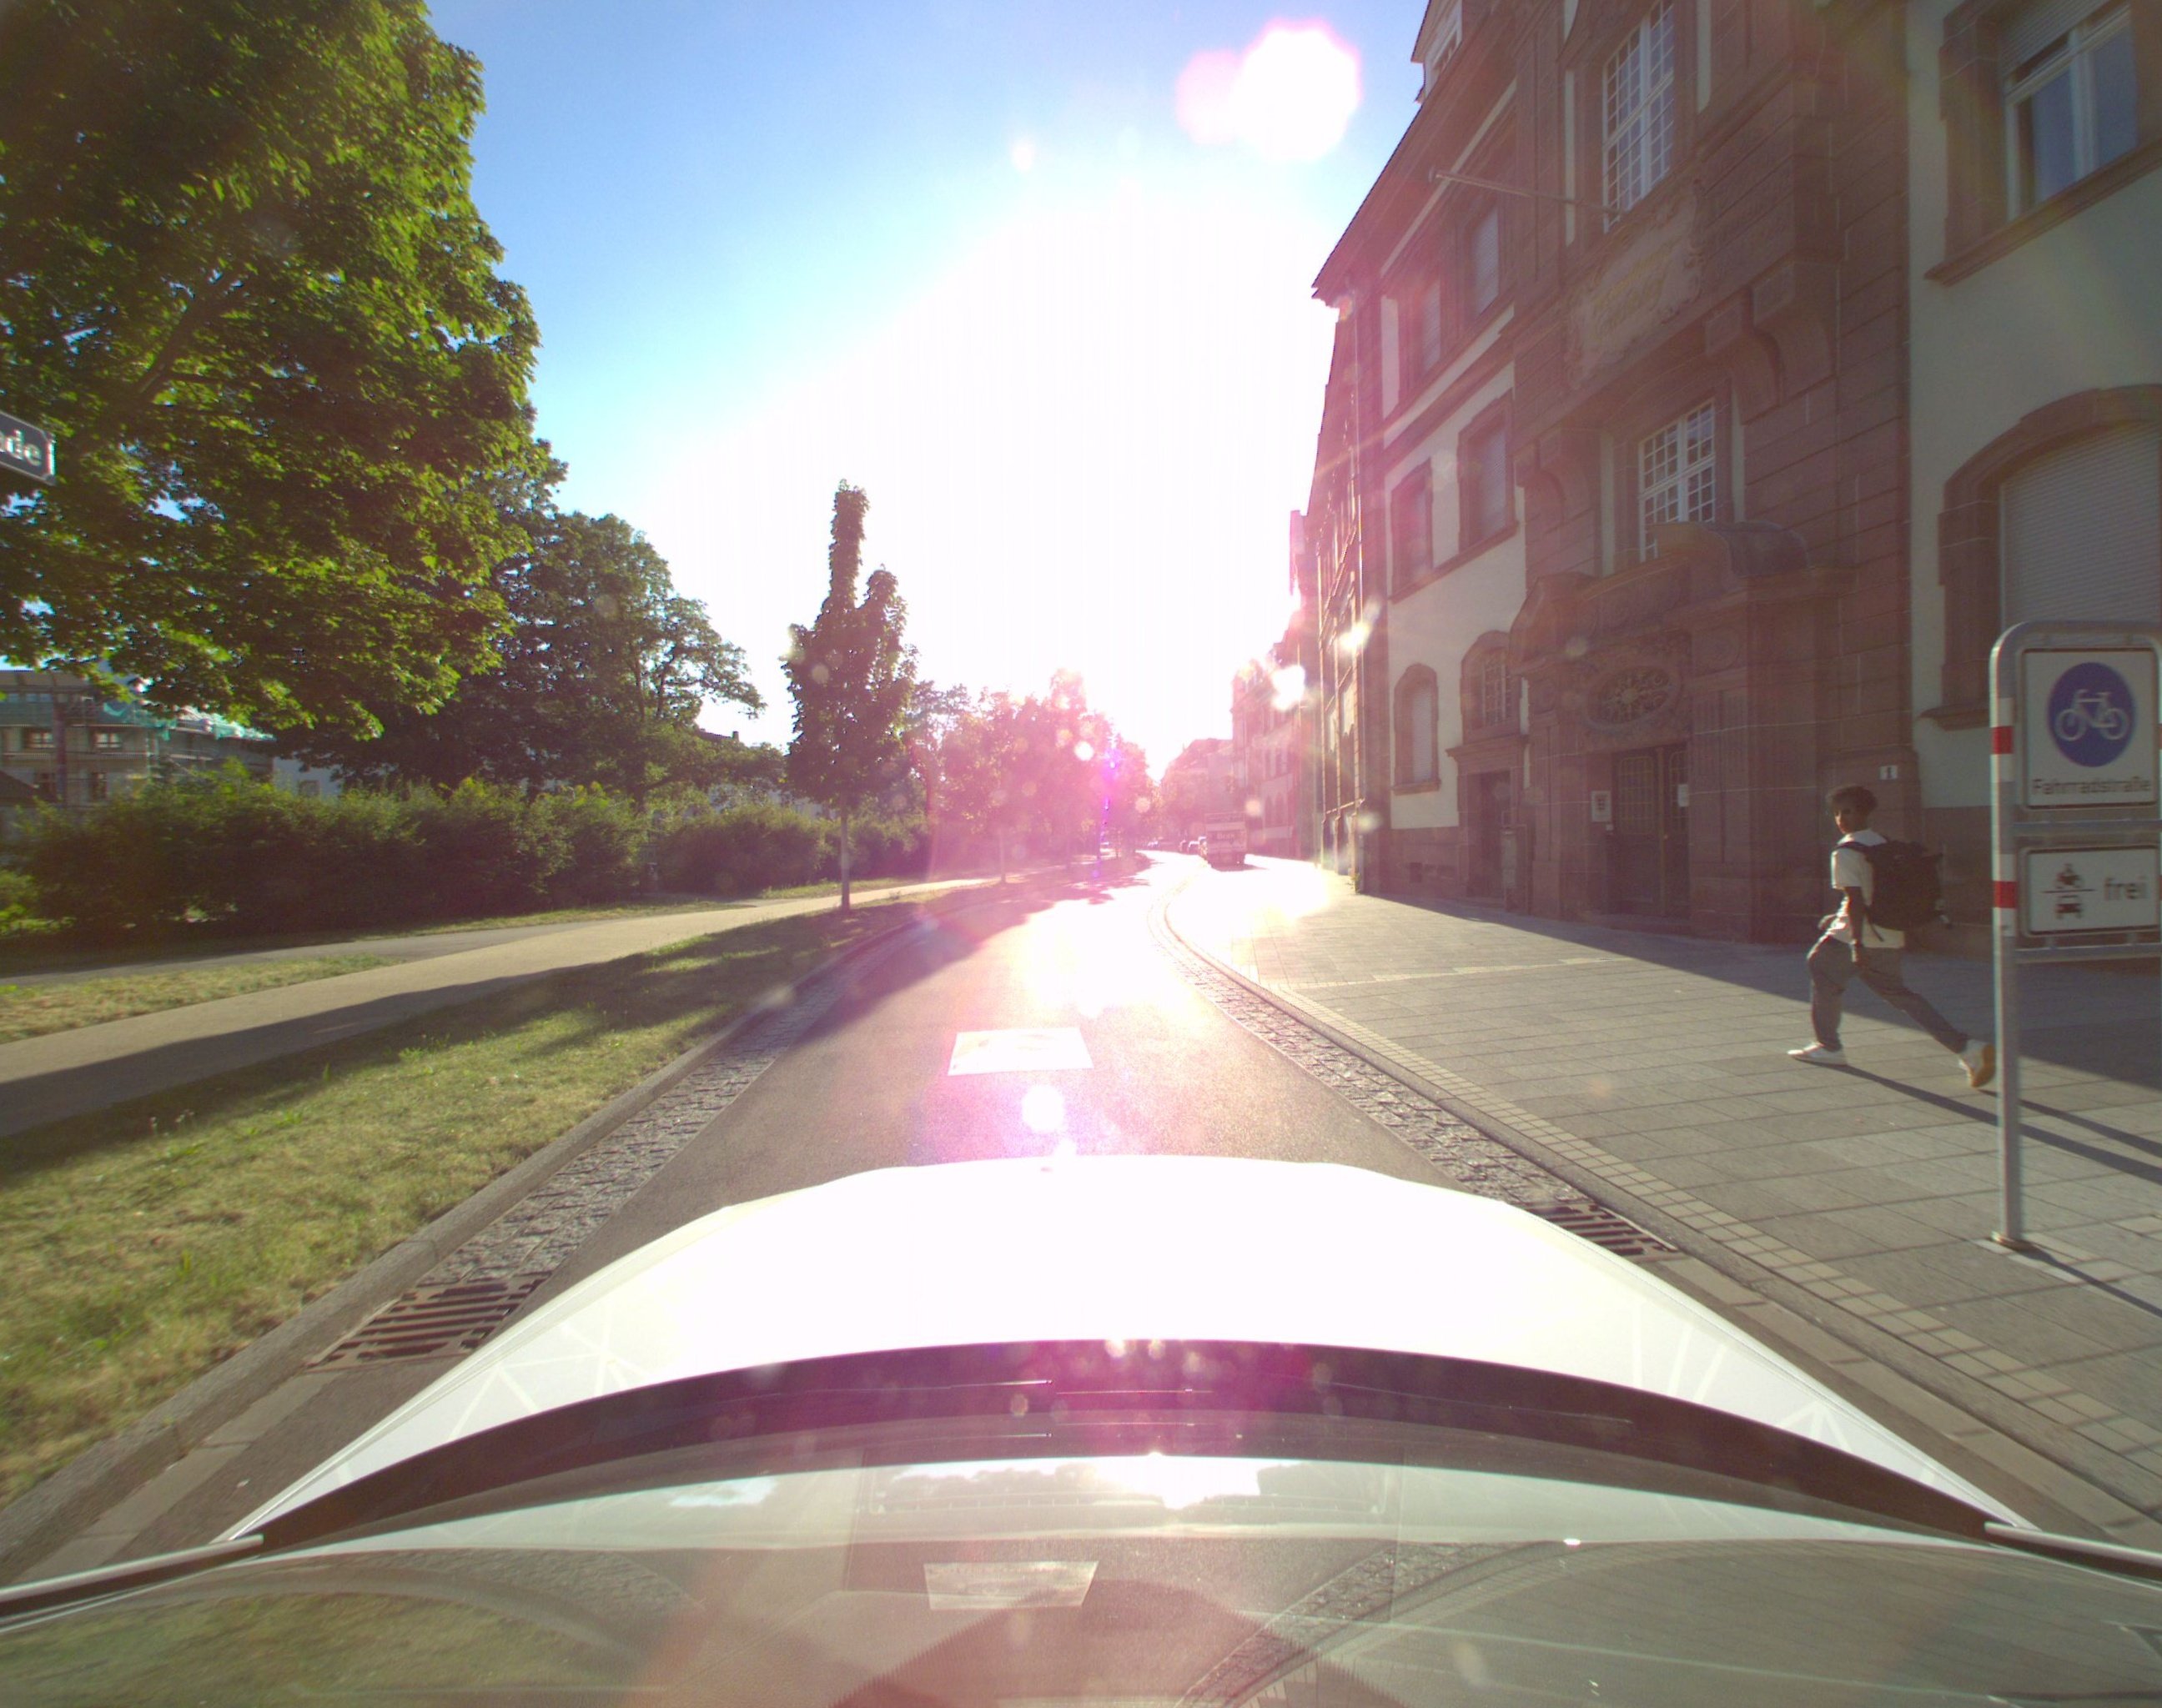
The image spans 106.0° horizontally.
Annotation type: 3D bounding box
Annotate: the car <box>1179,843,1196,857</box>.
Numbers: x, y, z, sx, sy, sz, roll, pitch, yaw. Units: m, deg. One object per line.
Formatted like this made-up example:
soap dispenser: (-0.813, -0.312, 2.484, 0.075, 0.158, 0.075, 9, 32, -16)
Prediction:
car: (14.073, -0.579, 107.880, 1.718, 1.669, 4.115, -3, 1, 1)

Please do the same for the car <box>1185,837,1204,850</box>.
car: (13.554, -1.258, 97.634, 1.741, 1.466, 4.479, -1, 1, 1)

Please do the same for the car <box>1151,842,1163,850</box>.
car: (13.871, -1.421, 148.226, 1.687, 1.440, 3.547, -2, 1, -3)

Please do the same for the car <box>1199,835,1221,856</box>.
car: (13.498, -0.905, 85.596, 1.983, 1.966, 4.859, -4, 0, 7)

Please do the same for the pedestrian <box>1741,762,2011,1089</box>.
pedestrian: (4.676, 0.372, 4.867, 0.532, 1.718, 1.001, -4, 1, -6)

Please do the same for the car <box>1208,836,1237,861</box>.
car: (9.681, -0.387, 55.663, 1.757, 1.530, 4.585, -3, 0, 10)

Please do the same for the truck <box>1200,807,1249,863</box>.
truck: (8.656, -1.129, 49.804, 2.609, 3.120, 6.101, -3, 1, 8)

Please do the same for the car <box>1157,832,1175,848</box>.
car: (14.299, -2.417, 136.944, 2.205, 2.529, 6.144, -3, 1, -1)

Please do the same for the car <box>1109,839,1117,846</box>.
car: (8.931, -3.177, 226.395, 1.789, 1.724, 3.998, -1, 1, -1)
